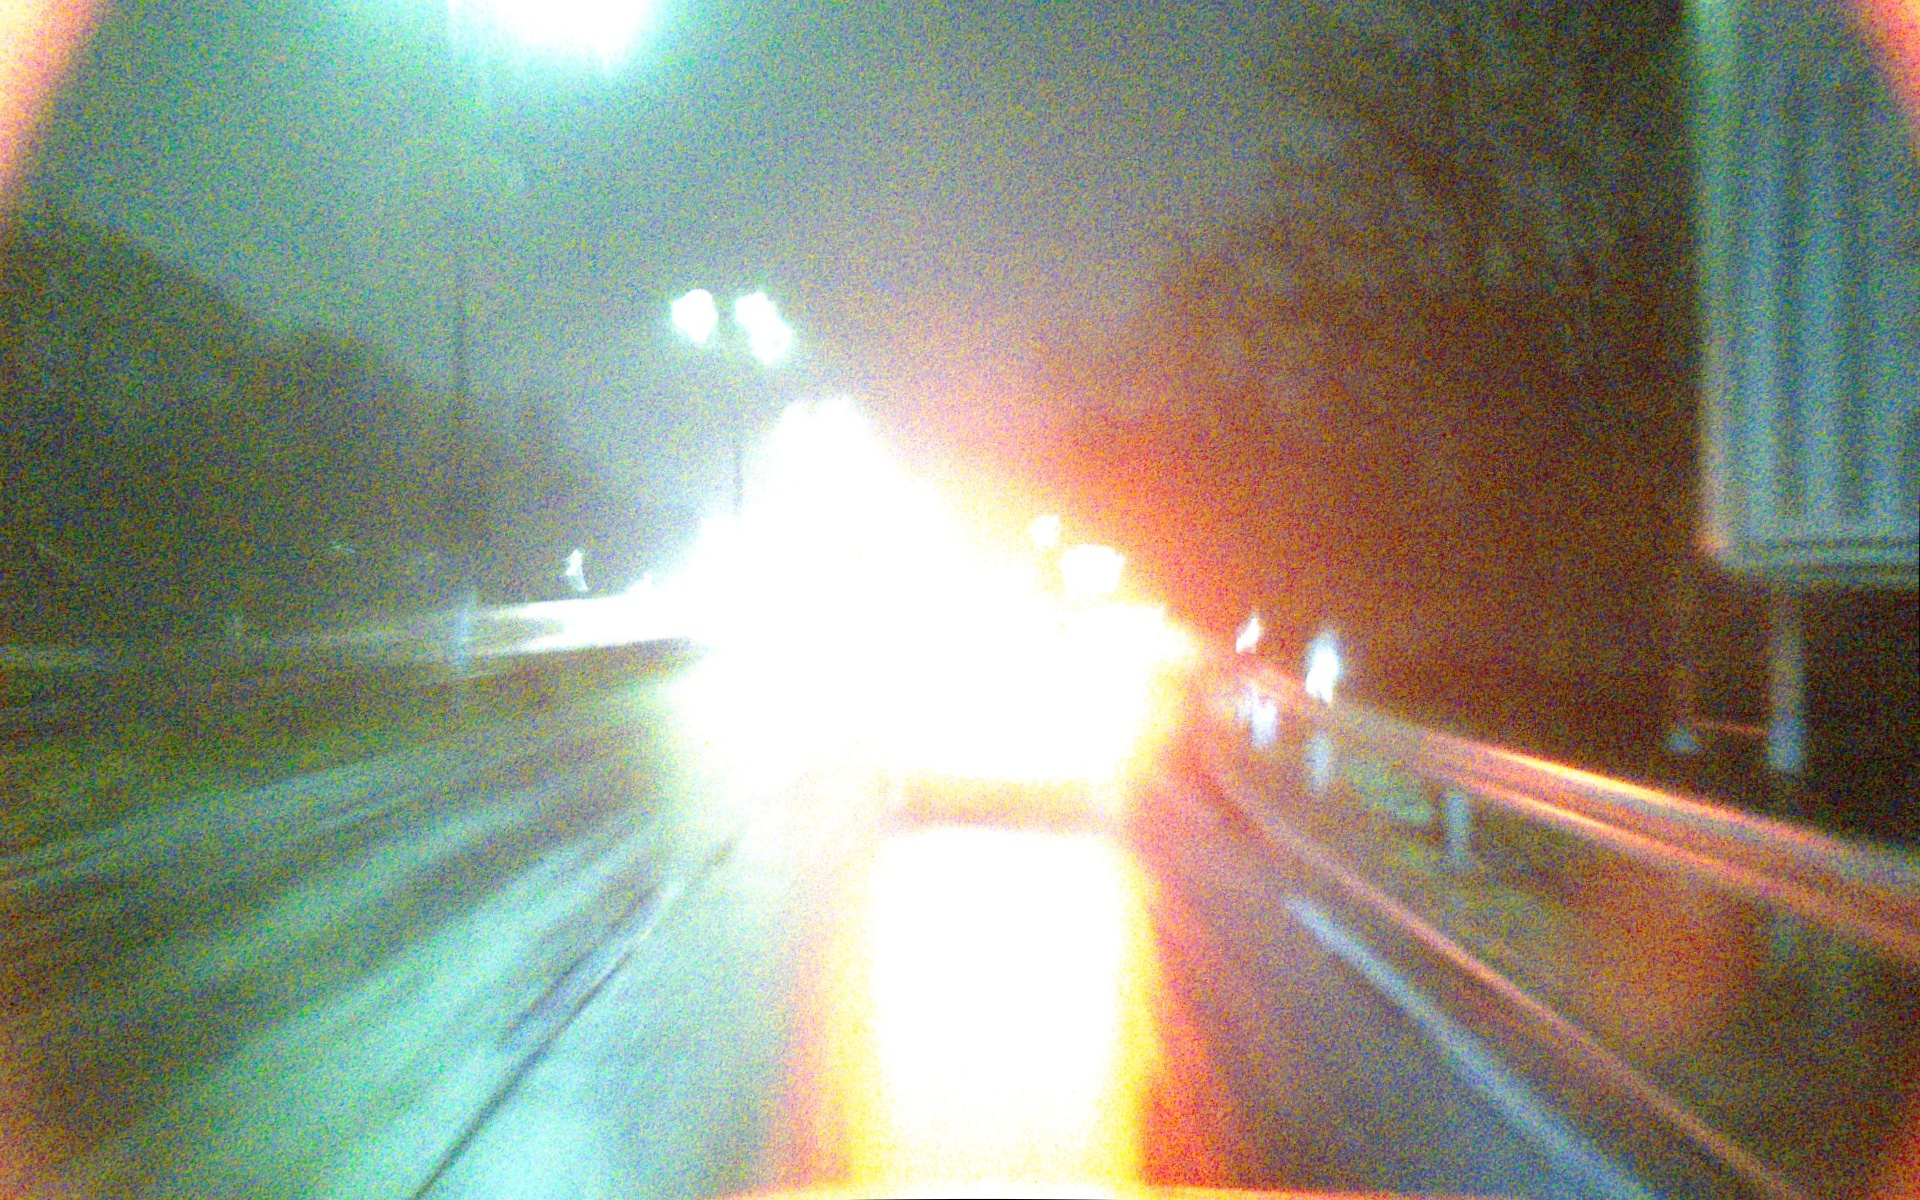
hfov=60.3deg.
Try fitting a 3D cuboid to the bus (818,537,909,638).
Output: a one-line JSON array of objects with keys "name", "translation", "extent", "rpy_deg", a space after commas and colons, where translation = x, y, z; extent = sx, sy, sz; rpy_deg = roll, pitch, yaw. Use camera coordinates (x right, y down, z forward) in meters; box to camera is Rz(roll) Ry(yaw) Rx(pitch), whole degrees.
[{"name": "bus", "translation": [-3.252, -0.447, 58.019], "extent": [2.688, 3.178, 9.199], "rpy_deg": [2, 0, -1]}]

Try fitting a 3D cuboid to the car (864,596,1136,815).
[{"name": "car", "translation": [0.427, 0.750, 13.495], "extent": [1.903, 1.517, 3.718], "rpy_deg": [0, 0, 5]}]

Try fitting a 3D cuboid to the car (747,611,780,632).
[{"name": "car", "translation": [-15.070, 1.674, 126.911], "extent": [1.982, 1.528, 4.895], "rpy_deg": [2, -1, -1]}]

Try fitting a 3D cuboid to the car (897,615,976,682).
[{"name": "car", "translation": [-0.543, 1.128, 39.525], "extent": [1.784, 1.487, 3.715], "rpy_deg": [1, 0, 0]}]

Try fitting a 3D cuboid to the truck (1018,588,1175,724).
[{"name": "truck", "translation": [2.958, 1.164, 36.001], "extent": [3.005, 2.573, 7.169], "rpy_deg": [2, -1, 5]}]

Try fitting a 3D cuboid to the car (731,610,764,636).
[{"name": "car", "translation": [-13.471, 1.475, 105.039], "extent": [1.567, 1.579, 3.833], "rpy_deg": [2, -1, 0]}]
